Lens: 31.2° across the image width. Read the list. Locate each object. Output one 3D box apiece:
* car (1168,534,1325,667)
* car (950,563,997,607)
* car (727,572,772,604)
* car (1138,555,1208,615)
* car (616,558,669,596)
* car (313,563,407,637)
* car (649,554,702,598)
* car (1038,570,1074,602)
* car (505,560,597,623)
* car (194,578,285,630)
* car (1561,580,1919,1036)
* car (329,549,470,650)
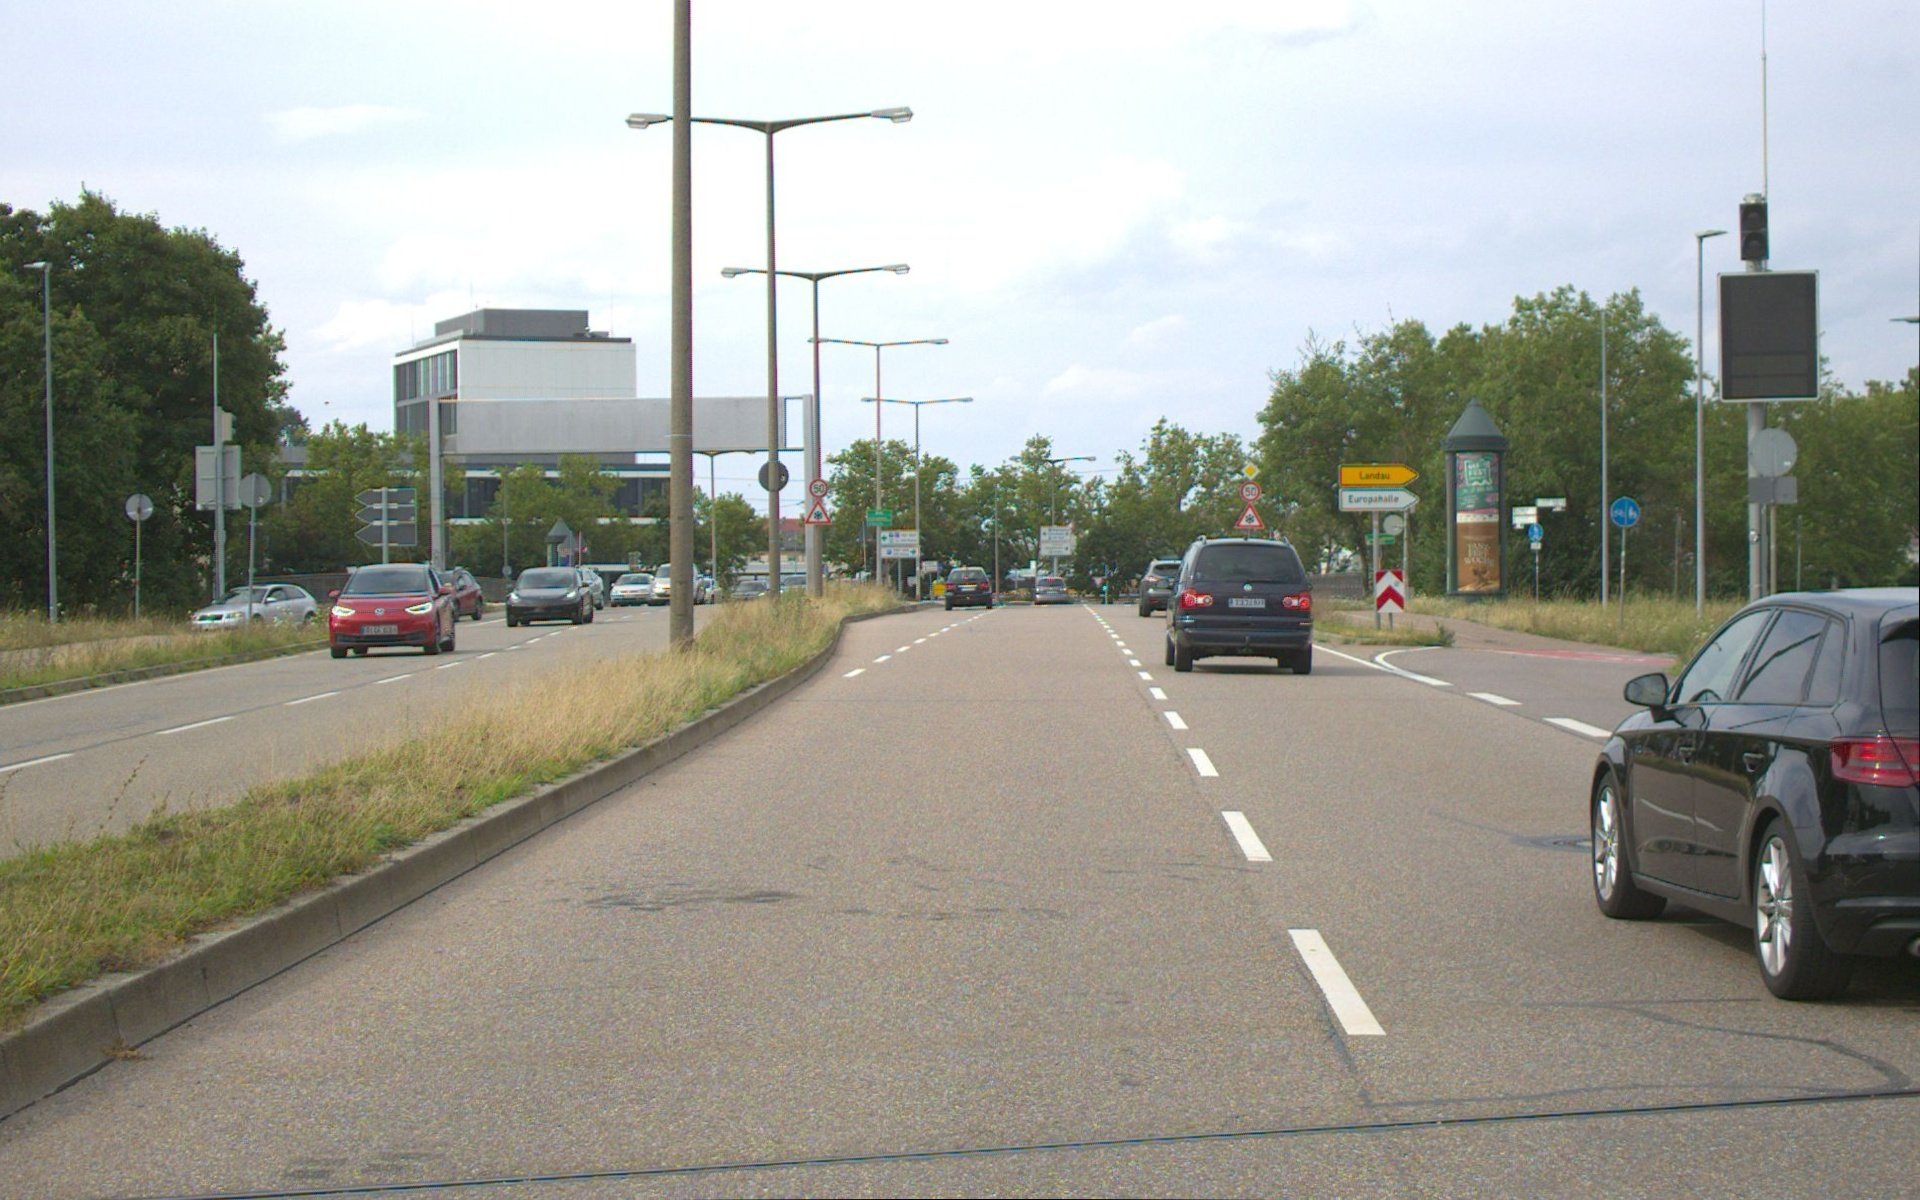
[{"bbox_3d":[3.700,-0.019,44.967,1.730,1.647,4.115,0,1,1],"label":"car"},{"bbox_3d":[0.516,-0.583,130.127,1.730,1.647,4.115,0,1,1],"label":"car"},{"bbox_3d":[-10.570,-0.576,173.045,1.793,1.520,4.594,-2,0,1],"label":"car"},{"bbox_3d":[5.954,-0.435,96.515,1.730,1.647,4.115,0,1,1],"label":"car"},{"bbox_3d":[-13.264,-0.968,143.578,1.666,1.414,4.092,-2,2,2],"label":"car"},{"bbox_3d":[-17.233,-0.025,98.906,1.993,2.007,4.000,1,1,0],"label":"car"},{"bbox_3d":[-10.940,-0.937,132.441,1.745,1.593,4.565,-1,1,-1],"label":"car"},{"bbox_3d":[4.733,-0.702,170.398,1.730,1.521,4.115,0,1,1],"label":"car"},{"bbox_3d":[-10.164,-0.231,85.657,1.745,1.470,4.565,-1,1,0],"label":"car"},{"bbox_3d":[-18.531,0.093,88.533,1.269,1.269,3.008,-1,1,9],"label":"car"},{"bbox_3d":[3.518,0.649,12.773,1.730,1.390,4.115,1,1,-1],"label":"car"},{"bbox_3d":[-9.498,-0.036,58.560,1.651,1.569,4.338,-3,1,0],"label":"car"}]
